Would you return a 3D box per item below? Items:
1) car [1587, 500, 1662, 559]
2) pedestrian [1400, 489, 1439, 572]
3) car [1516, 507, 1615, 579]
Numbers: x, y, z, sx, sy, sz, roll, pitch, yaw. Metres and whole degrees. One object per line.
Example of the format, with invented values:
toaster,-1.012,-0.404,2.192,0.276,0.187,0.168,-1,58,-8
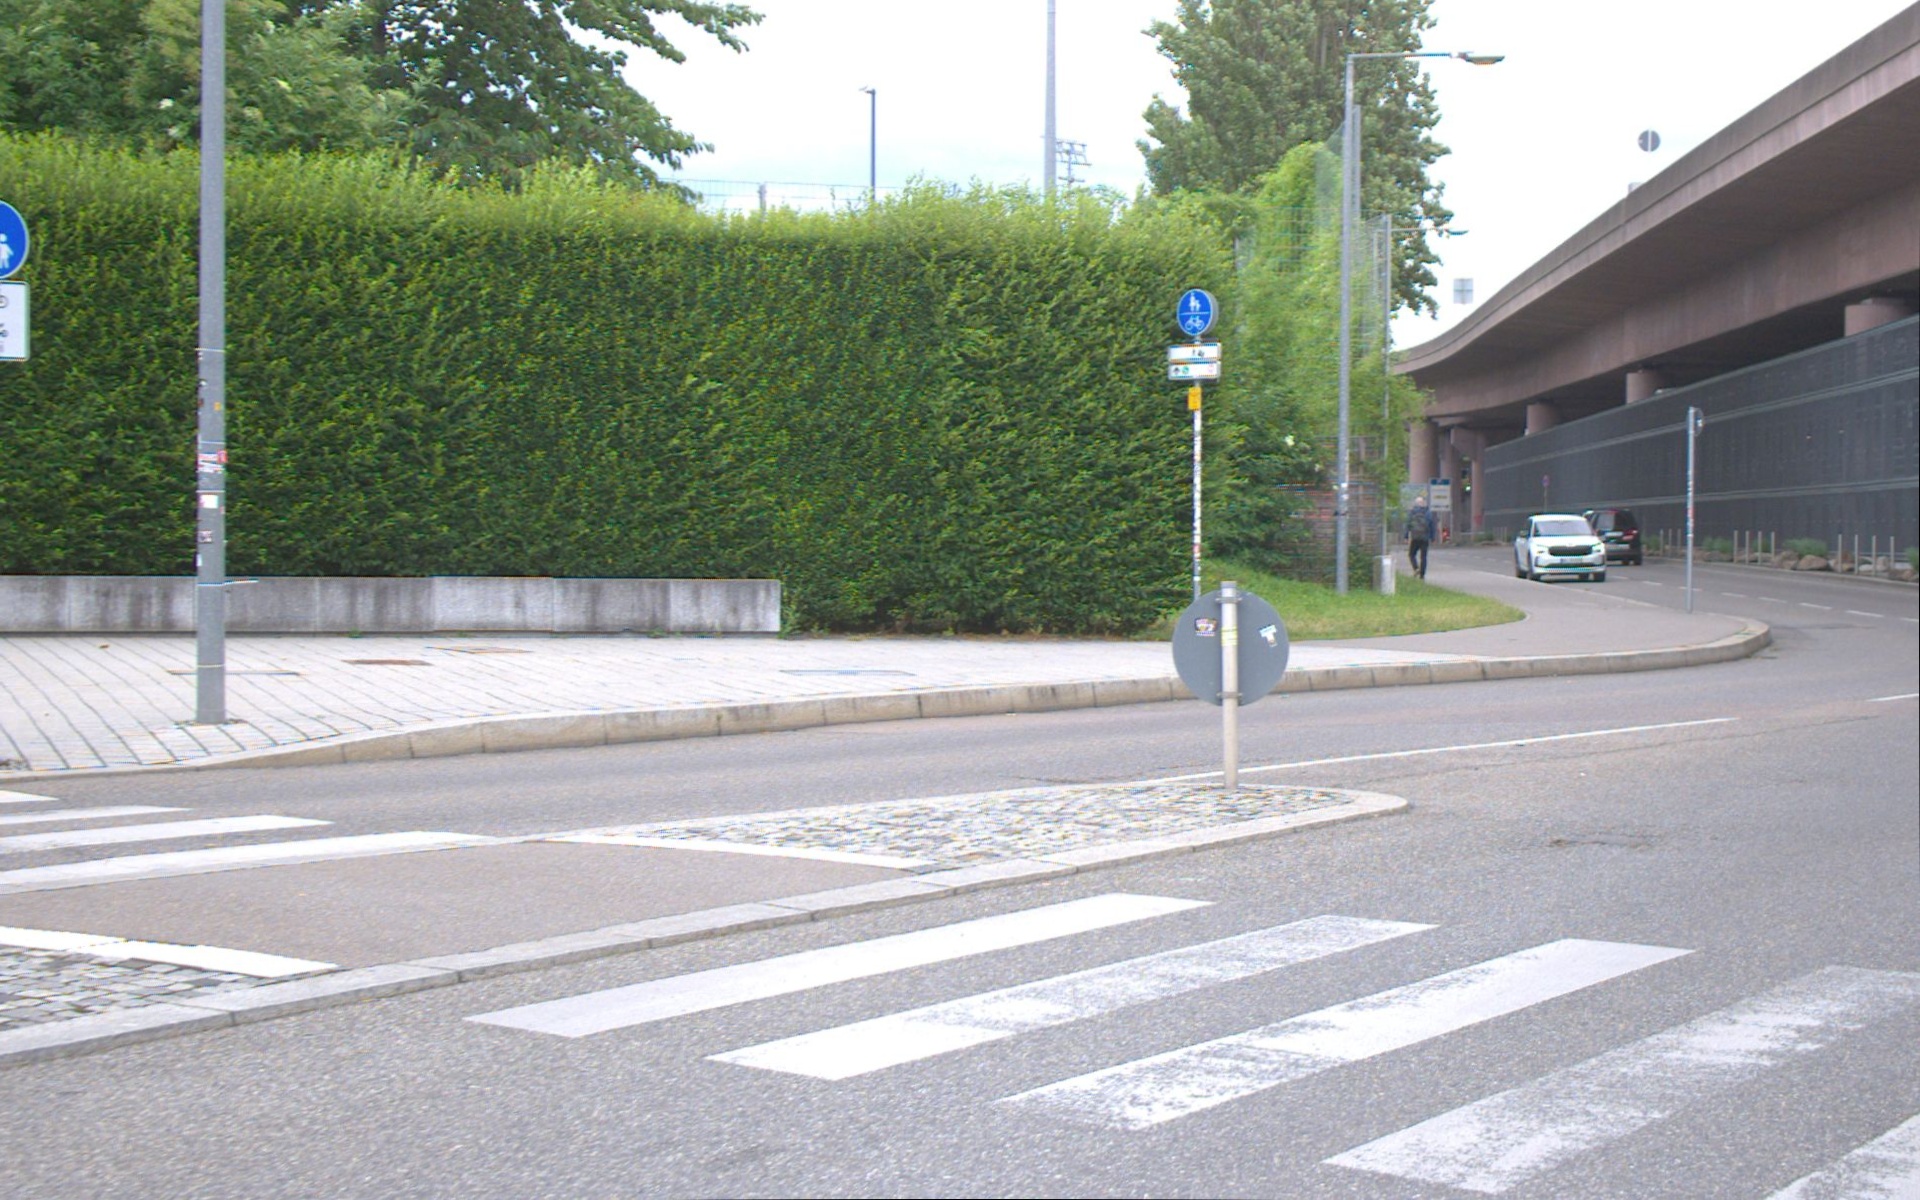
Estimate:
car,20.168,-2.156,104.490,1.840,1.705,3.705,0,3,5
pedestrian,9.854,-1.497,73.745,0.804,1.774,0.920,0,3,7
car,15.065,-1.443,85.658,1.864,1.677,4.405,0,3,3
